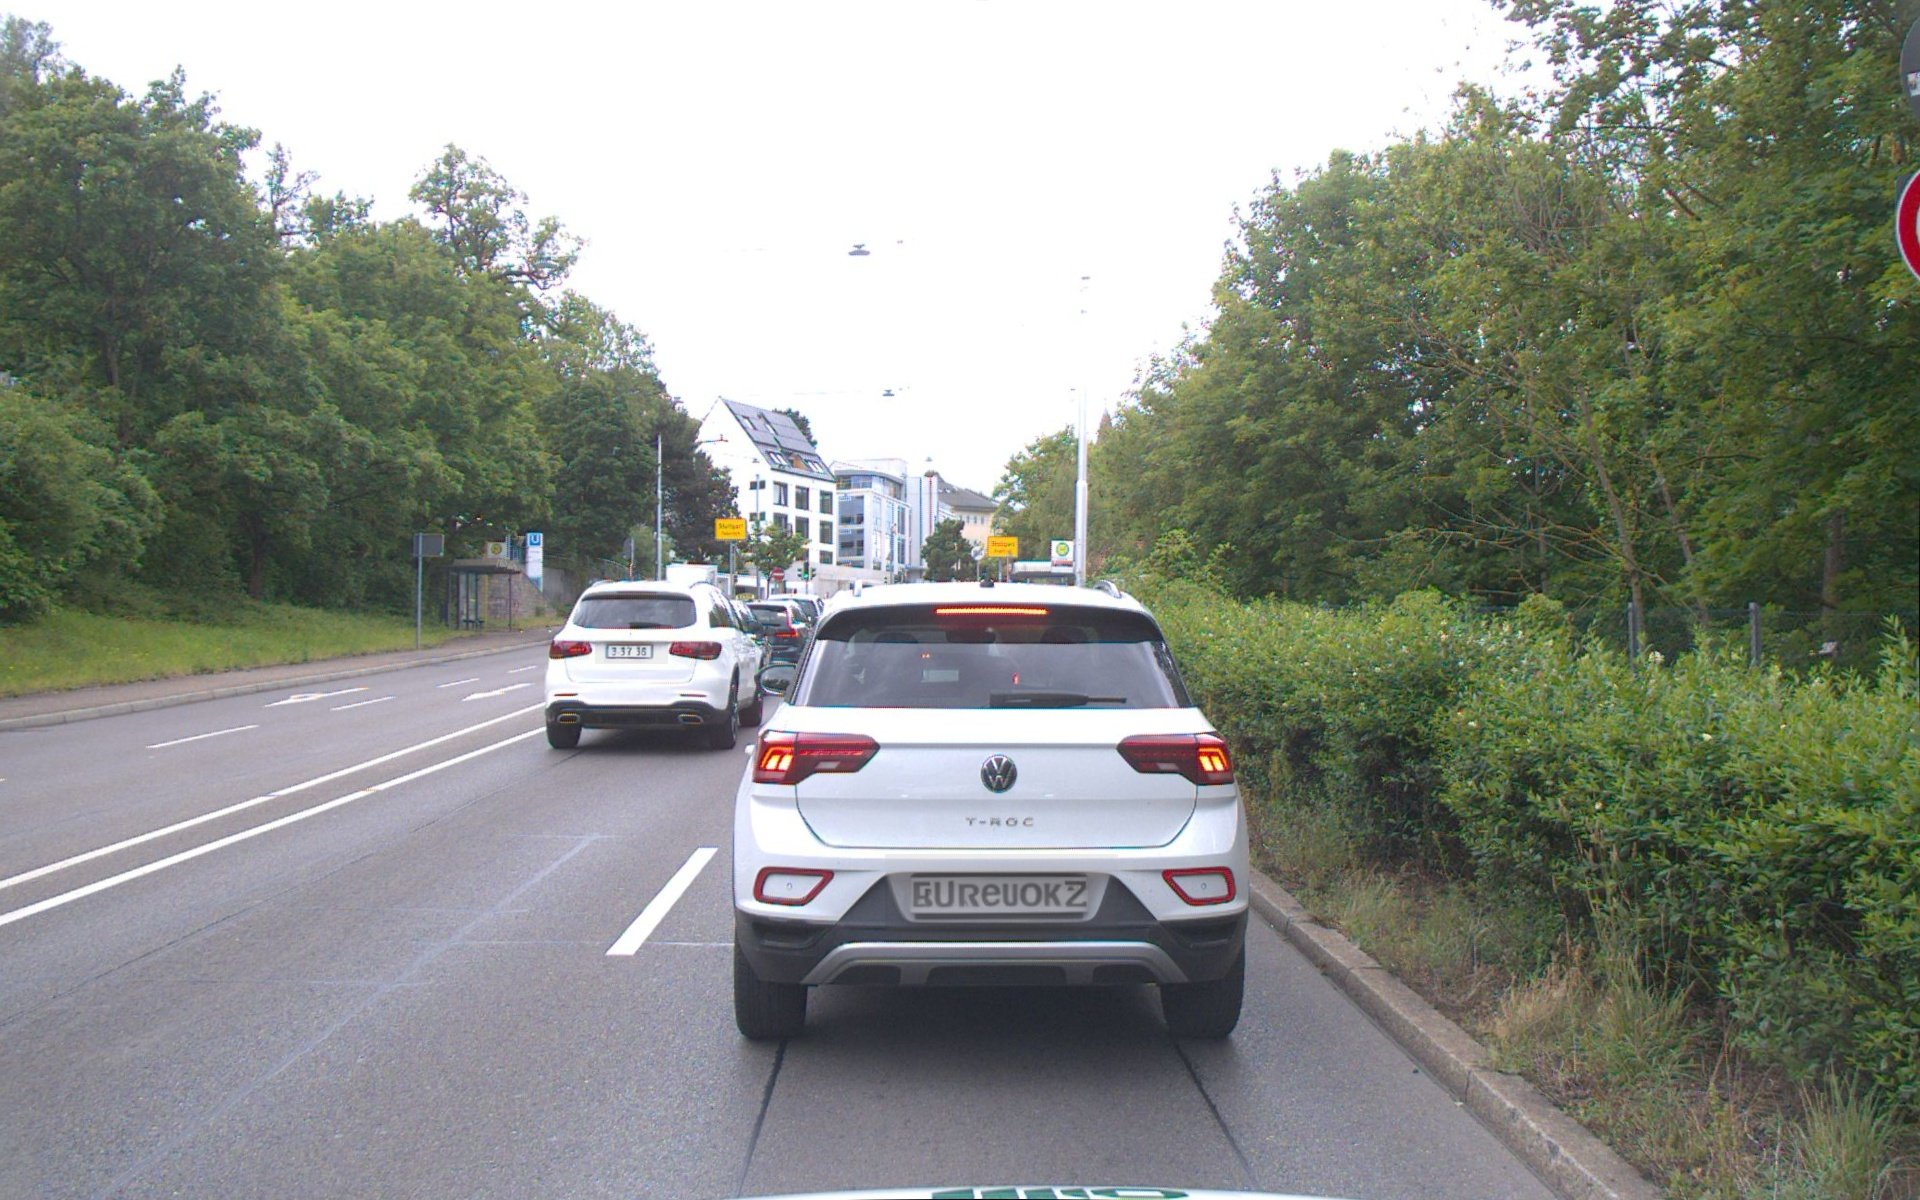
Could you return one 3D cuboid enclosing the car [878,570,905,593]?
[{"bbox_3d":[-4.830,-1.280,116.681,1.792,1.552,3.999,-1,0,-2],"label":"car"}]

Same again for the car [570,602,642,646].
[{"bbox_3d":[-12.256,0.810,57.487,1.645,1.420,4.359,-1,0,-2],"label":"car"}]

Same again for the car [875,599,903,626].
[{"bbox_3d":[-4.663,0.823,109.302,1.778,1.685,3.927,-1,0,-2],"label":"car"}]

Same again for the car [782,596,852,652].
[{"bbox_3d":[-4.154,0.663,48.514,1.792,1.552,3.999,-1,0,-2],"label":"car"}]

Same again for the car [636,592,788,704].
[{"bbox_3d":[-3.668,0.665,25.064,1.792,1.523,3.999,-1,0,-2],"label":"car"}]

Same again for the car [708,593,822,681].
[{"bbox_3d":[-3.658,0.653,31.602,1.792,1.552,3.999,-1,0,-2],"label":"car"}]

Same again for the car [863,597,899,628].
[{"bbox_3d":[-4.161,0.653,87.191,1.792,1.552,3.999,-1,0,-2],"label":"car"}]

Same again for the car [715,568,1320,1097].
[{"bbox_3d":[0.120,0.679,6.902,1.792,1.552,3.999,0,0,-2],"label":"car"}]

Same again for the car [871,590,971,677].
[{"bbox_3d":[-0.767,0.600,31.944,1.792,1.552,3.999,-1,0,-2],"label":"car"}]

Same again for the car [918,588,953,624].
[{"bbox_3d":[-1.400,0.334,95.728,1.953,2.049,3.999,-1,0,-1],"label":"car"}]

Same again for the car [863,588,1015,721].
[{"bbox_3d":[-0.304,0.643,21.693,1.792,1.552,3.999,-1,0,-2],"label":"car"}]

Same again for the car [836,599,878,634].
[{"bbox_3d":[-4.705,0.738,76.112,1.792,1.552,3.999,-1,0,-2],"label":"car"}]

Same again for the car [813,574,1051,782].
[{"bbox_3d":[-0.266,0.591,14.612,1.792,1.552,3.999,-1,0,-2],"label":"car"}]

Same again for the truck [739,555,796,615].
[{"bbox_3d":[-9.331,-0.723,80.554,2.315,2.754,4.476,-1,0,-2],"label":"truck"}]

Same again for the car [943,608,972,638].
[{"bbox_3d":[-0.177,1.659,117.157,1.953,2.049,3.999,-1,-1,0],"label":"car"}]

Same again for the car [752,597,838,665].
[{"bbox_3d":[-4.005,0.718,40.653,1.792,1.552,3.999,-1,0,-2],"label":"car"}]

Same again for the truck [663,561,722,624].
[{"bbox_3d":[-13.943,-0.358,86.508,2.247,3.104,6.975,-1,0,-3],"label":"truck"}]

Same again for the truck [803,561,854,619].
[{"bbox_3d":[-6.752,-0.507,85.228,2.315,2.830,4.476,-1,0,-2],"label":"truck"}]

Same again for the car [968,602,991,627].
[{"bbox_3d":[1.686,1.275,143.486,1.953,2.049,3.999,-1,-1,0],"label":"car"}]

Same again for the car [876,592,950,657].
[{"bbox_3d":[-1.197,0.603,42.262,1.792,1.552,3.999,-1,0,-2],"label":"car"}]

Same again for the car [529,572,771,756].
[{"bbox_3d":[-3.124,0.598,17.456,1.879,1.699,3.999,1,0,-2],"label":"car"}]
